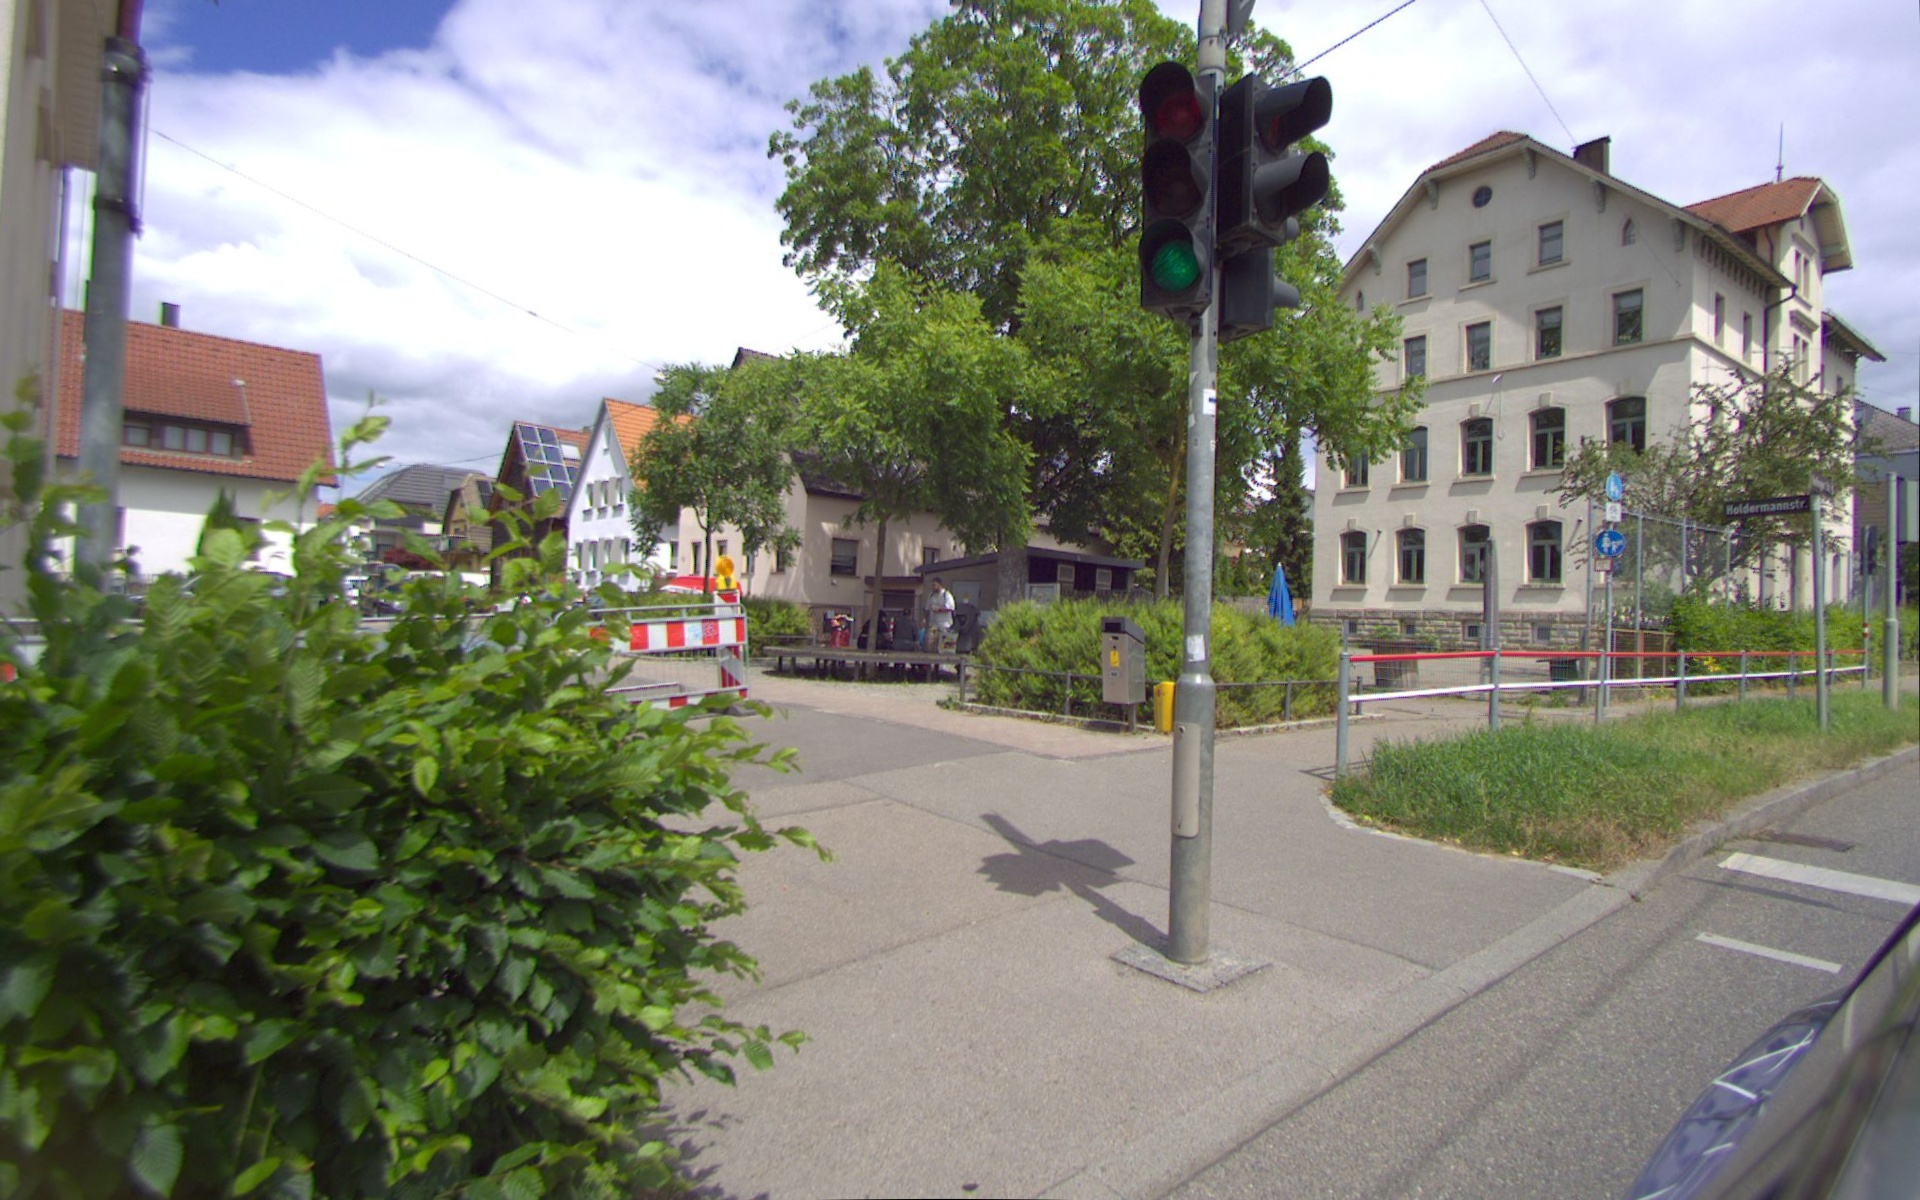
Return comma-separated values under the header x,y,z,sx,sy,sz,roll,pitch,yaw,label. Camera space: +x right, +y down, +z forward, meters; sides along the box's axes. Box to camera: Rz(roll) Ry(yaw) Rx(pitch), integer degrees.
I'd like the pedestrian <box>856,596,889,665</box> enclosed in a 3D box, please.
x,y,z,sx,sy,sz,roll,pitch,yaw,label
-1.613,0.551,18.643,0.401,1.246,0.457,1,-1,27,pedestrian

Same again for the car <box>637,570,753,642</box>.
x,y,z,sx,sy,sz,roll,pitch,yaw,label
-8.458,0.164,32.074,1.963,2.039,3.996,5,-3,-39,car

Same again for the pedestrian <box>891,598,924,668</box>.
x,y,z,sx,sy,sz,roll,pitch,yaw,label
-0.962,0.599,18.459,0.401,1.246,0.457,1,-1,27,pedestrian

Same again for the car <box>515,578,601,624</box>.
x,y,z,sx,sy,sz,roll,pitch,yaw,label
-15.901,0.009,39.917,1.795,1.694,4.354,1,1,-41,car

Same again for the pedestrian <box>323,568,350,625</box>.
x,y,z,sx,sy,sz,roll,pitch,yaw,label
-18.530,-0.101,30.080,0.601,1.677,0.431,1,0,-43,pedestrian

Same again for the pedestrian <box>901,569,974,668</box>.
x,y,z,sx,sy,sz,roll,pitch,yaw,label
-0.440,0.368,19.797,0.748,1.842,1.129,1,-4,43,pedestrian

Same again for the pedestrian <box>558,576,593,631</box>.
x,y,z,sx,sy,sz,roll,pitch,yaw,label
-12.557,0.121,33.051,0.835,1.750,0.756,1,-2,-41,pedestrian

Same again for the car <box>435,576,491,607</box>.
x,y,z,sx,sy,sz,roll,pitch,yaw,label
-24.930,-0.438,50.707,1.573,1.438,3.994,1,1,-41,car

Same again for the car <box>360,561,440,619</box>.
x,y,z,sx,sy,sz,roll,pitch,yaw,label
-21.017,-0.383,37.908,1.820,2.039,3.994,1,0,-41,car

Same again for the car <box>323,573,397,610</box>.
x,y,z,sx,sy,sz,roll,pitch,yaw,label
-24.800,-0.367,41.790,1.822,1.416,3.991,1,0,-43,car

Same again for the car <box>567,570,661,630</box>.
x,y,z,sx,sy,sz,roll,pitch,yaw,label
-12.376,0.000,36.044,1.795,2.039,3.993,1,0,-41,car

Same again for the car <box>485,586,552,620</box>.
x,y,z,sx,sy,sz,roll,pitch,yaw,label
-19.594,0.177,44.837,1.573,1.438,3.992,1,-2,-41,car

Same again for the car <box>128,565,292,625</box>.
x,y,z,sx,sy,sz,roll,pitch,yaw,label
-22.184,-0.135,29.985,3.796,1.653,1.775,1,0,-40,car
